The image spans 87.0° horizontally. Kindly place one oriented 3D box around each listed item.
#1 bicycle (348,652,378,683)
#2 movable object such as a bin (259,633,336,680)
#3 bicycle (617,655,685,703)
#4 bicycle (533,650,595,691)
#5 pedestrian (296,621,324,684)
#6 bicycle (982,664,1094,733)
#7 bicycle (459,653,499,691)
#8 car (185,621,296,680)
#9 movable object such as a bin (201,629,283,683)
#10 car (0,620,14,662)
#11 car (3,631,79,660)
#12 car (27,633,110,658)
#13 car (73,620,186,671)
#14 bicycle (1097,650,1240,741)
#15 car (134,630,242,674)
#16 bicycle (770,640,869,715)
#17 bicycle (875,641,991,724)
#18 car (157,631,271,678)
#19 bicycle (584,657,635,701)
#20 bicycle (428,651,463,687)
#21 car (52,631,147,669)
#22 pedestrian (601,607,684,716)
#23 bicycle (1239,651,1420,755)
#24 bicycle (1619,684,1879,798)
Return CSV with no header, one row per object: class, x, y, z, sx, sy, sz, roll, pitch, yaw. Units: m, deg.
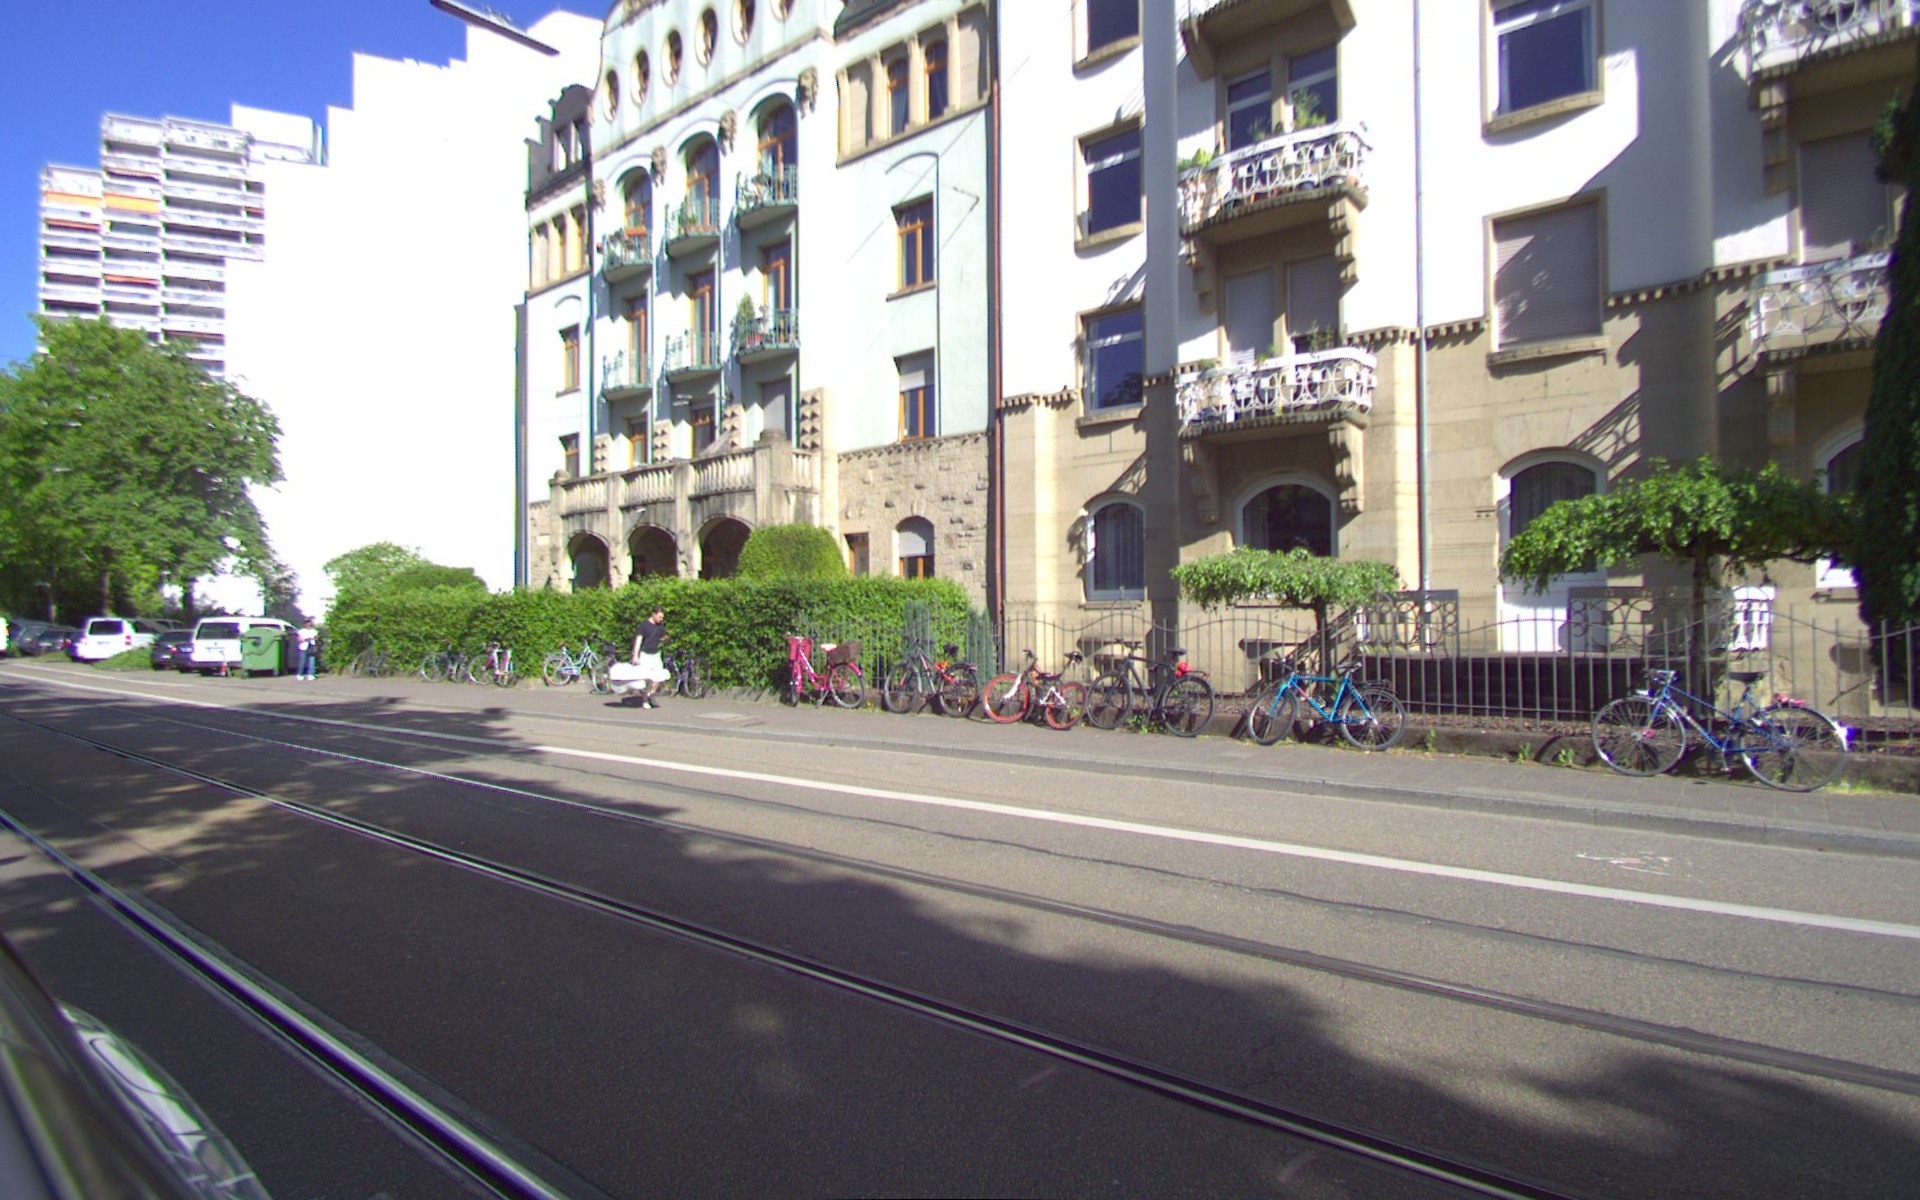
bicycle,-15.645,1.761,26.493,1.263,0.767,0.293,-1,0,41
movable object such as a bin,-20.463,1.719,31.261,2.095,1.326,1.482,-1,0,41
bicycle,-5.582,1.407,18.240,1.581,0.767,0.400,-1,0,41
bicycle,-8.575,1.521,21.943,0.297,0.799,1.246,-1,0,41
pedestrian,-17.421,1.399,27.126,0.659,1.641,0.469,-1,0,41
bicycle,0.968,1.227,12.857,1.542,0.767,0.314,-1,0,41
bicycle,-10.611,1.583,22.323,1.263,0.767,0.314,-1,0,41
car,-22.831,1.616,32.232,1.438,1.787,3.189,-1,-3,-5
movable object such as a bin,-20.815,1.591,29.338,2.095,1.443,1.493,-1,0,41
car,-47.197,1.982,48.839,1.968,1.918,4.008,-1,0,-39
car,-48.451,2.379,53.376,1.220,1.436,2.734,-1,0,24
car,-42.928,2.180,48.769,1.220,1.097,2.734,-1,0,24
car,-33.300,1.796,40.694,1.894,1.885,3.447,-1,0,-4
bicycle,2.398,1.080,11.782,1.648,0.949,0.400,-1,0,41
car,-27.689,1.832,36.351,1.451,1.446,2.734,-1,0,24
bicycle,-2.163,1.157,15.440,1.815,1.031,0.400,-1,0,41
bicycle,-0.401,1.112,14.011,1.815,1.031,0.400,-1,0,41
car,-25.133,1.799,34.162,1.451,1.446,2.734,-1,0,24
bicycle,-6.675,1.488,19.274,1.263,0.767,0.335,-1,0,41
bicycle,-11.956,1.601,23.505,1.263,0.767,0.293,-1,0,41
car,-36.170,2.085,42.591,1.451,1.446,2.734,-1,0,24
pedestrian,-5.152,0.975,16.422,0.870,1.640,0.858,-1,4,41
bicycle,3.829,1.039,10.603,1.748,0.949,0.400,-1,0,41
bicycle,6.411,1.120,8.305,1.651,0.767,0.314,-1,0,41
